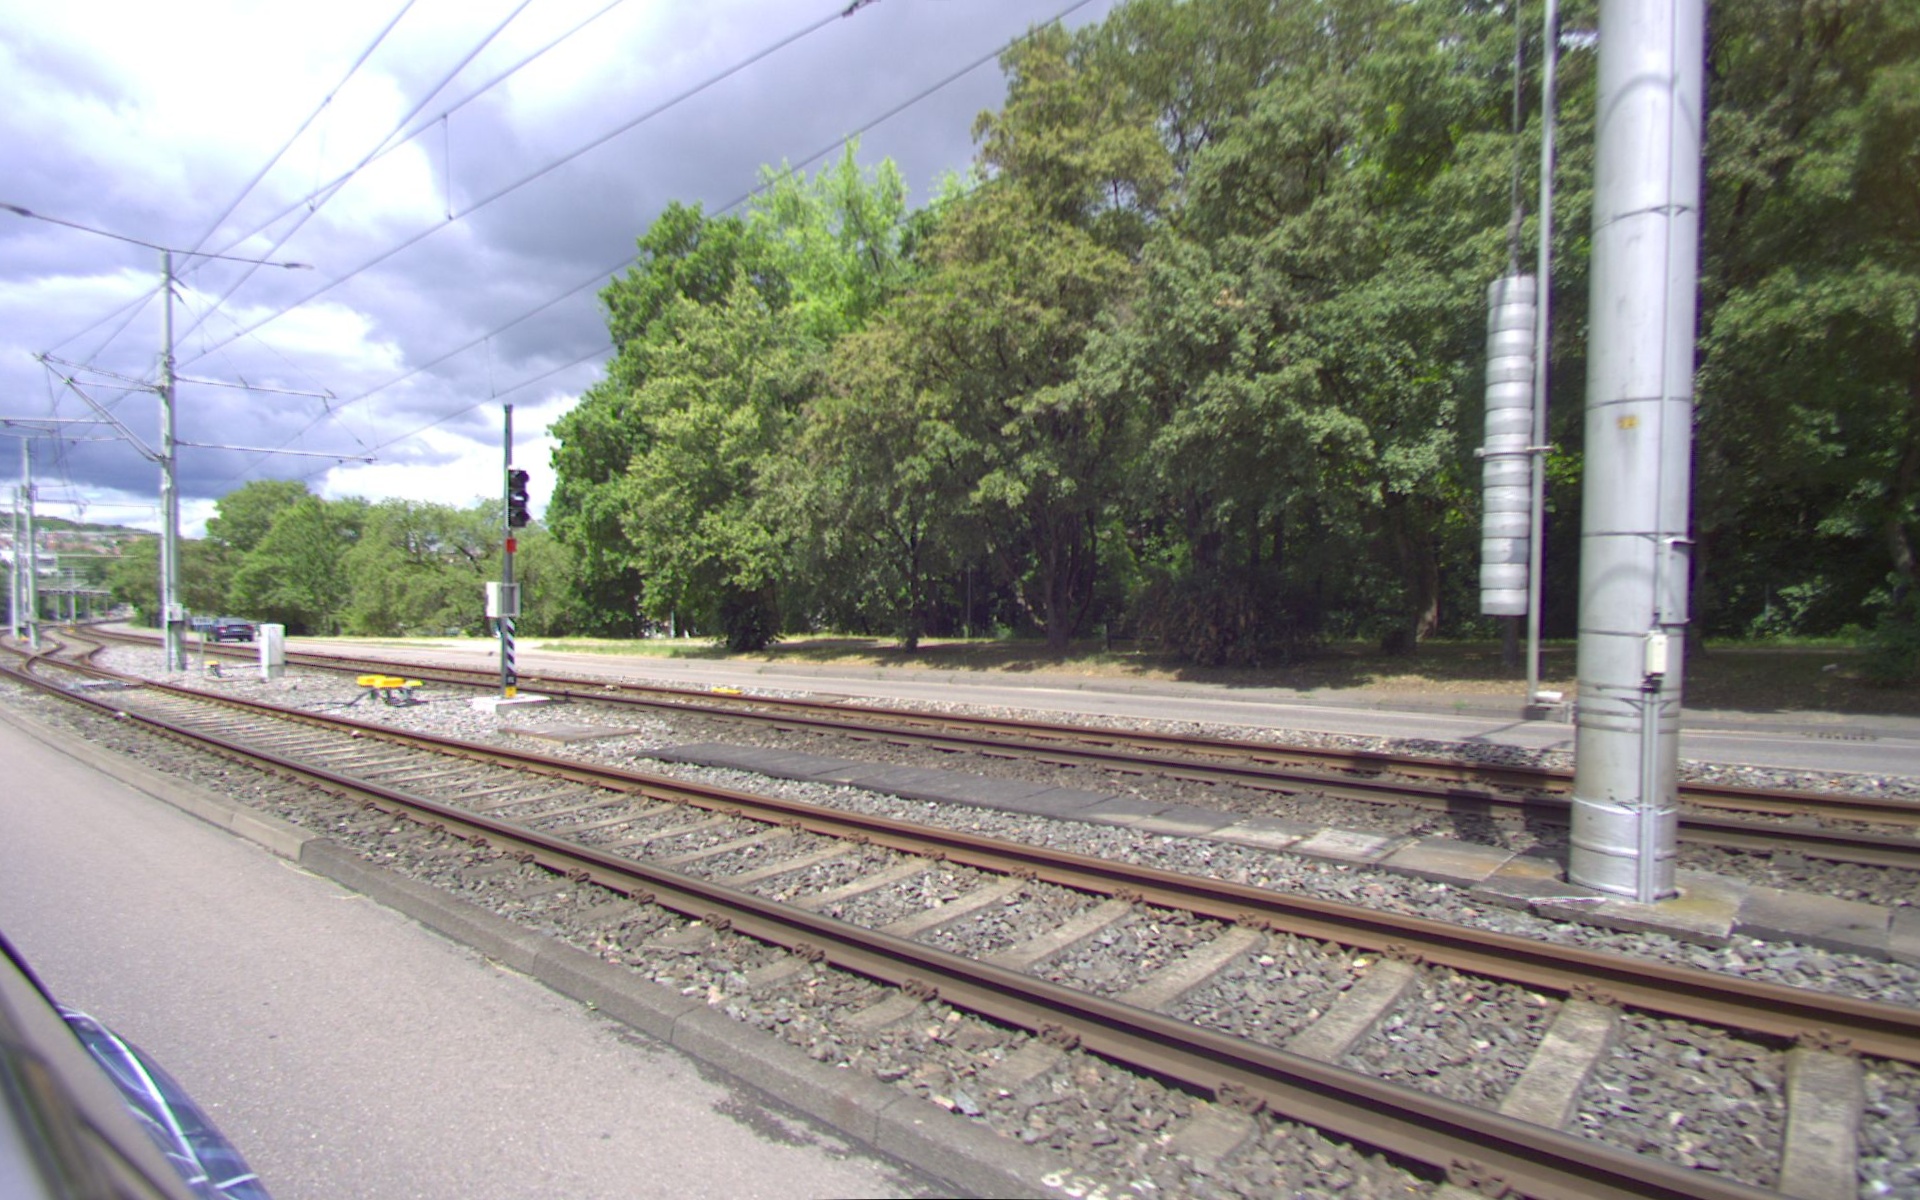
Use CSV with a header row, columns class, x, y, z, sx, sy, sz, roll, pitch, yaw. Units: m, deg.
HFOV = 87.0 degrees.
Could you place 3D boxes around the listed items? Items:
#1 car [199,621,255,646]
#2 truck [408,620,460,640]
class,x,y,z,sx,sy,sz,roll,pitch,yaw
car,-43.615,1.995,60.176,4.863,1.402,1.815,-1,-3,44
truck,-78.888,4.468,151.813,6.519,2.877,2.684,3,-3,-40
